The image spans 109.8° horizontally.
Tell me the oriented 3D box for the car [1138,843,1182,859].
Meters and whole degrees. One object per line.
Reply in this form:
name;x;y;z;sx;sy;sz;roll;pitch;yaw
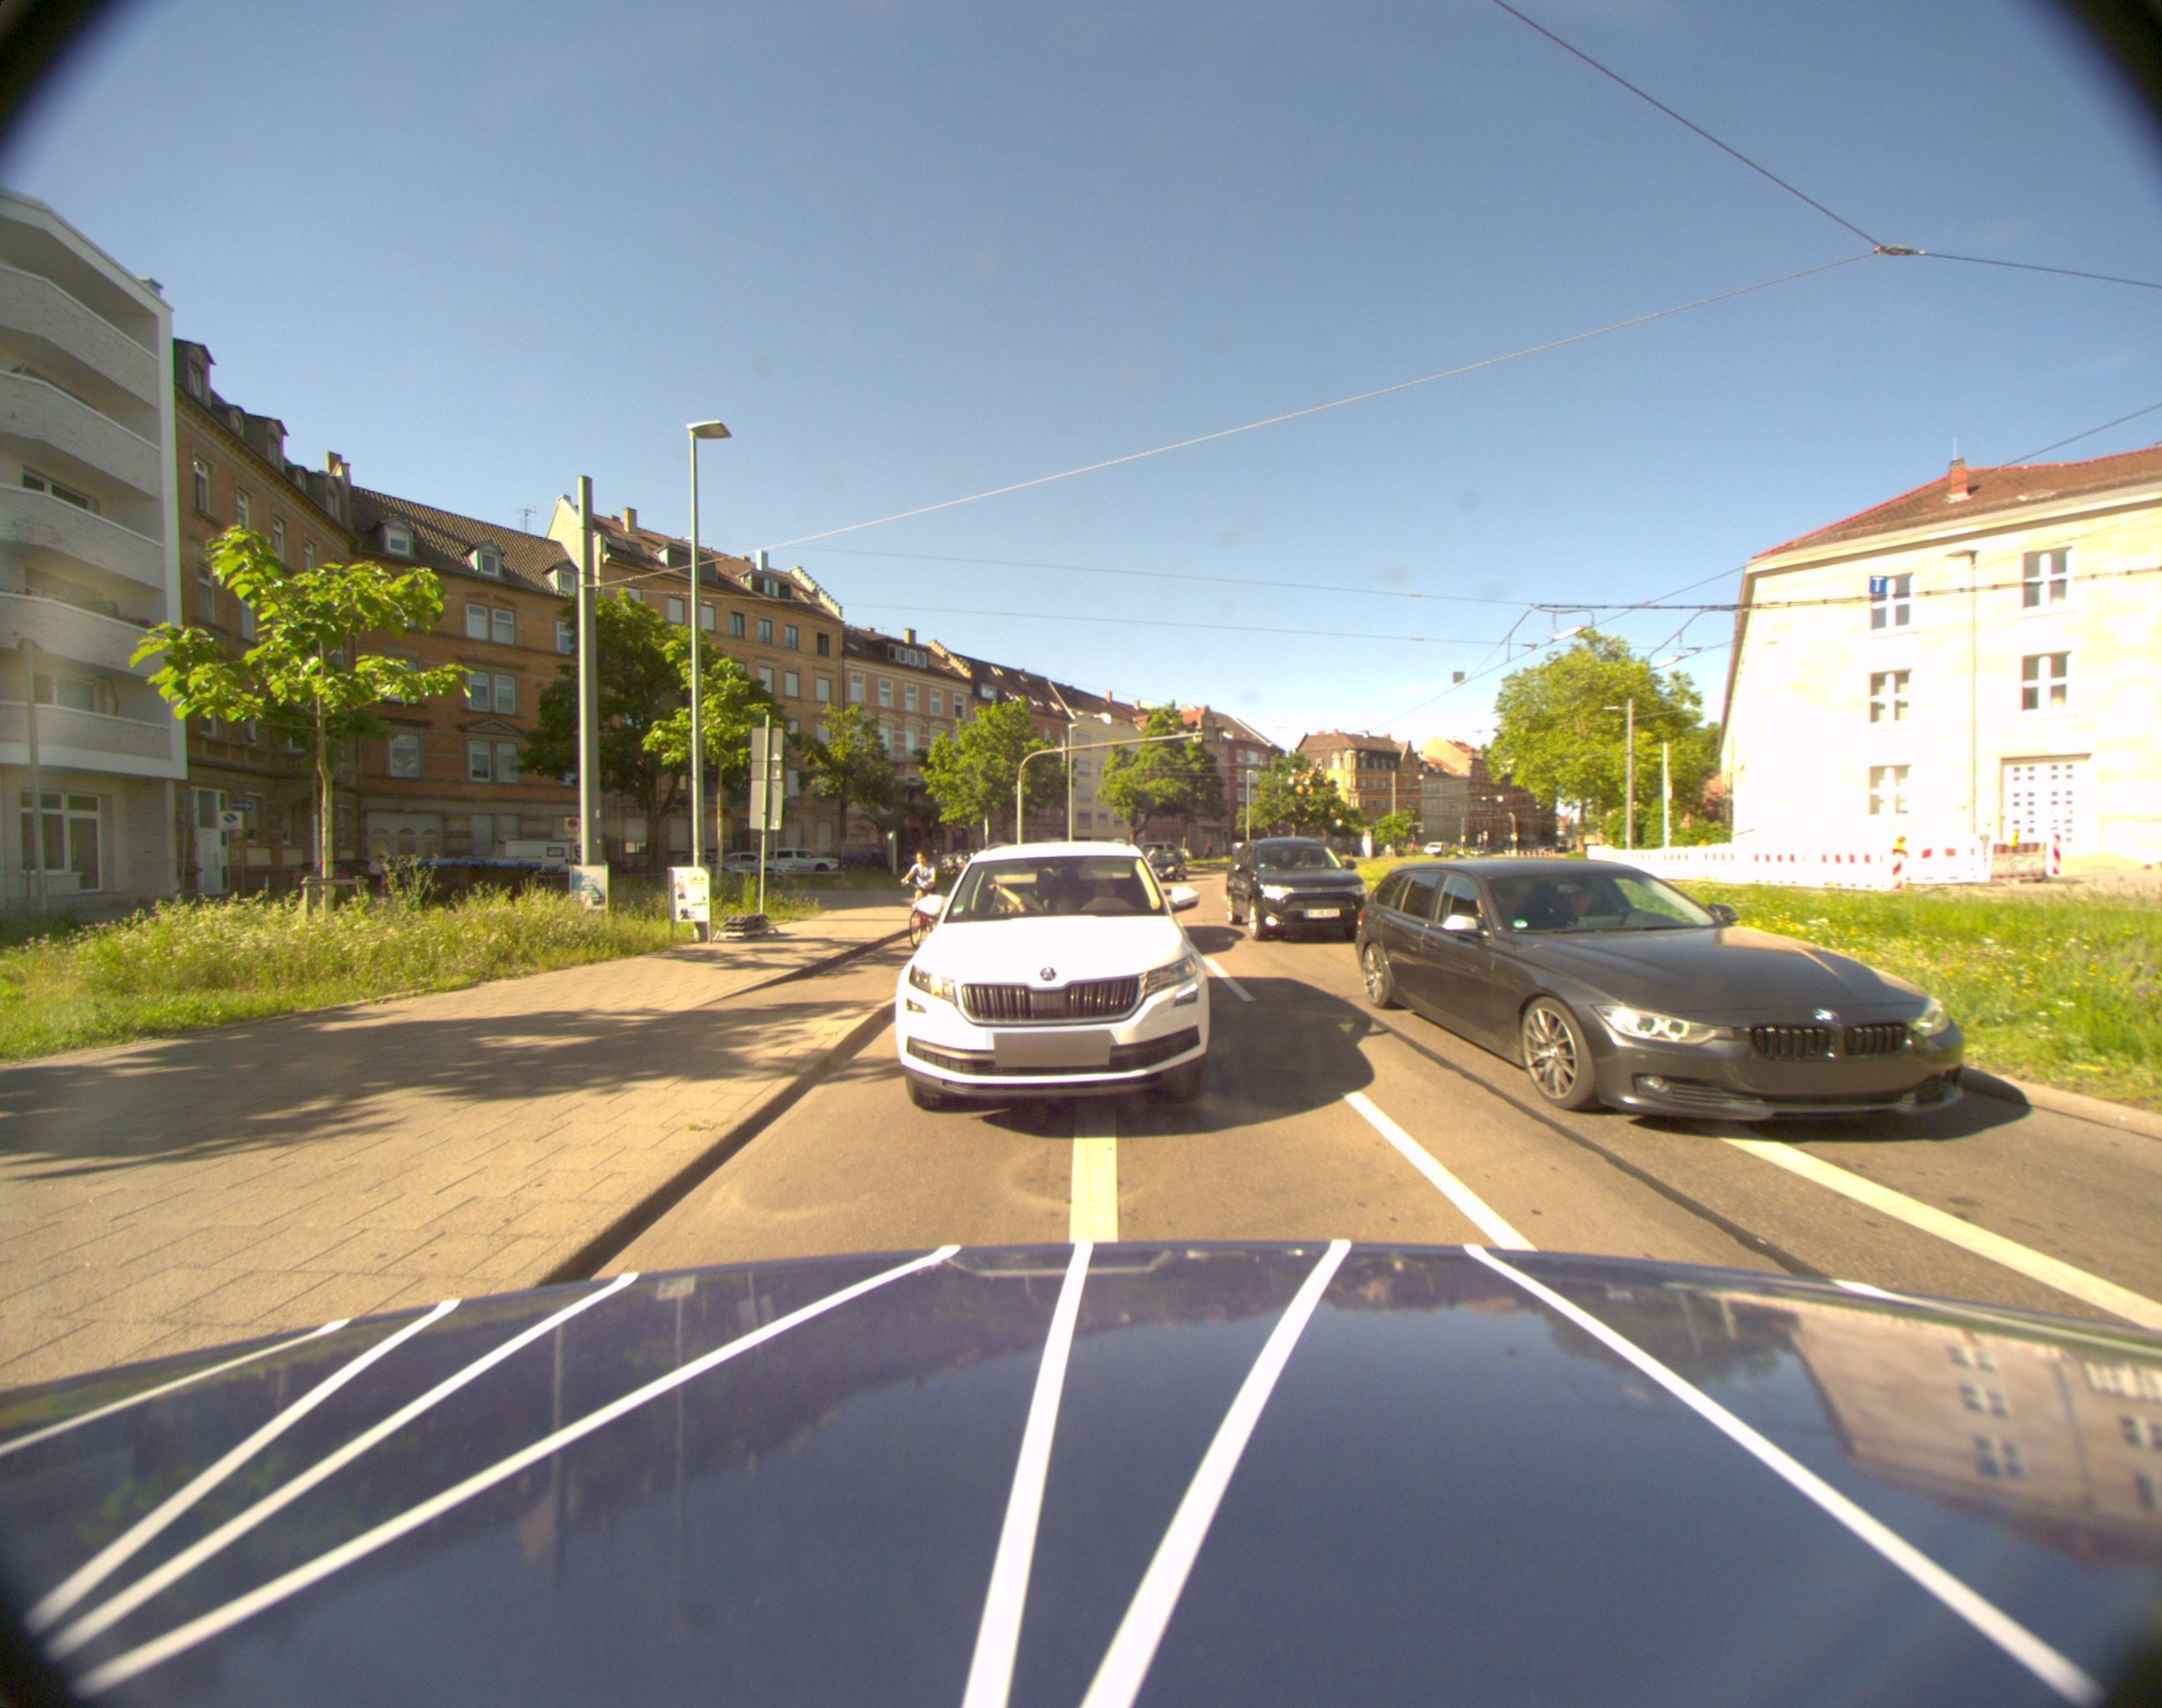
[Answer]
car;7.122;-0.247;68.182;3.823;1.372;1.600;0;1;9

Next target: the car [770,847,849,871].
car;-14.684;0.257;41.197;3.700;1.244;1.540;0;1;2

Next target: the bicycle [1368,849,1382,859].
bicycle;34.453;-0.041;88.927;0.762;1.138;2.287;0;1;42

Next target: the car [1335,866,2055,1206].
car;3.476;0.850;5.597;1.741;1.359;4.426;-2;0;1

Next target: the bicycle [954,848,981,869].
bicycle;-7.126;0.310;47.757;0.664;1.260;2.199;-3;1;-36

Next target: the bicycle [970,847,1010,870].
bicycle;-5.479;0.269;45.742;2.207;1.260;0.662;-3;1;-25

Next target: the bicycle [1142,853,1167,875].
bicycle;4.604;0.587;47.530;0.757;1.293;2.158;0;2;27

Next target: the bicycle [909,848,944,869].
bicycle;-9.513;0.281;46.715;2.198;1.260;0.664;-2;1;32

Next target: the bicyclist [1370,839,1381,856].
bicyclist;34.483;-0.748;88.892;0.847;2.002;1.199;0;1;42

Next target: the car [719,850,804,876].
car;-16.410;0.441;39.108;3.696;1.244;1.683;0;1;13

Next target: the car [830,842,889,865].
car;-15.614;-0.055;53.674;1.547;1.578;3.709;1;2;41

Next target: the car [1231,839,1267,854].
car;18.690;-0.818;84.662;3.823;1.581;1.600;0;1;6

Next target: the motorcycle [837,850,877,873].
motorcycle;-13.293;0.440;45.022;2.314;1.270;0.664;-2;1;24

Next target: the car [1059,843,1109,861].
car;0.256;-0.158;61.168;3.823;1.398;1.600;0;1;6

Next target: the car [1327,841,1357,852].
car;43.085;-1.237;125.676;4.336;1.871;1.844;1;2;35

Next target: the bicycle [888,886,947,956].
bicycle;-2.832;1.133;13.322;0.668;1.066;1.820;0;0;-1

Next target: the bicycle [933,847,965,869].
bicycle;-7.732;0.242;44.521;0.664;1.260;2.198;-3;1;-45

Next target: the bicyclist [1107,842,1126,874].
bicyclist;1.905;0.205;40.544;0.715;1.715;1.095;1;1;19

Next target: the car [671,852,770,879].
car;-17.503;0.535;36.909;4.156;1.244;1.683;0;1;13

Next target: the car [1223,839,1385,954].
car;3.695;0.627;13.401;1.841;1.636;4.399;-2;0;5

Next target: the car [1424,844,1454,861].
car;45.941;-0.192;97.436;1.977;2.074;4.723;1;2;44

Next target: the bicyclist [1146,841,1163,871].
bicyclist;4.615;0.122;47.545;0.808;1.855;0.751;0;3;27

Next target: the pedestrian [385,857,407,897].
pedestrian;-25.080;0.828;27.835;0.509;1.448;0.481;-3;2;-38

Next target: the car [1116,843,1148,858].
car;5.464;-0.420;80.731;1.547;1.578;3.607;1;2;41

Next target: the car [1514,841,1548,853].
car;63.842;-0.948;107.786;4.058;1.647;1.770;1;2;34

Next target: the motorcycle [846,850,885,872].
motorcycle;-12.944;0.417;45.628;2.314;1.276;0.664;-2;1;24

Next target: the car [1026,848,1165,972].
car;0.232;0.763;12.611;1.842;1.636;4.397;-2;0;1

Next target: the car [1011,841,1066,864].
car;-3.111;-0.135;56.107;3.825;1.698;1.682;0;1;3

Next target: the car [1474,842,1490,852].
car;59.801;-1.020;113.345;1.836;1.464;4.722;1;1;31

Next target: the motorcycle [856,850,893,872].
motorcycle;-12.606;0.403;46.407;2.199;1.260;0.664;-2;1;24

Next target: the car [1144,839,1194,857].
car;8.194;-0.587;70.612;4.578;1.658;1.600;0;1;7

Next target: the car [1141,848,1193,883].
car;4.477;0.532;39.138;1.837;1.637;4.153;0;1;18

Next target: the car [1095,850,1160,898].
car;1.740;0.641;27.202;1.838;1.543;4.151;0;1;10

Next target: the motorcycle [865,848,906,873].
motorcycle;-11.152;0.359;43.296;2.200;1.315;0.664;-2;1;18

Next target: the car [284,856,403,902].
car;-26.171;0.830;27.150;1.835;1.419;4.378;-1;1;-27

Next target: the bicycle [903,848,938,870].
bicycle;-9.710;0.296;46.012;2.198;1.260;0.664;-2;1;32

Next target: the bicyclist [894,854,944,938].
bicyclist;-2.833;0.713;13.369;0.668;1.428;0.940;-1;0;-1

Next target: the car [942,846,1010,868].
car;-7.047;0.177;51.298;4.322;1.398;1.682;0;1;3

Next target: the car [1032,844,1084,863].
car;-1.779;-0.052;58.715;3.823;1.398;1.600;0;1;6

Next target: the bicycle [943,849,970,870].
bicycle;-7.689;0.342;46.763;0.664;1.260;2.199;-3;1;-36

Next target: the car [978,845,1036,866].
car;-5.231;0.089;53.968;3.822;1.398;1.683;0;1;9

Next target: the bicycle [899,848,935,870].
bicycle;-9.746;0.308;45.073;2.198;1.260;0.664;-2;1;30

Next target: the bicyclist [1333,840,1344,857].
bicyclist;26.882;-0.565;79.238;0.734;1.685;0.973;0;1;44

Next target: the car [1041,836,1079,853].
car;-1.944;-0.940;71.668;1.547;1.578;3.607;1;2;41

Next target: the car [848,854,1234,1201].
car;-0.230;0.855;5.953;1.842;1.636;4.397;-2;0;-1

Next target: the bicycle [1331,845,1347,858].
bicycle;26.931;-0.231;79.283;0.735;1.353;2.079;0;1;44

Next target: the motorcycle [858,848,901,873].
motorcycle;-11.182;0.376;42.210;2.200;1.322;0.663;-2;1;13

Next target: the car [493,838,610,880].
car;-27.121;0.218;39.012;2.047;2.026;4.510;1;2;41
